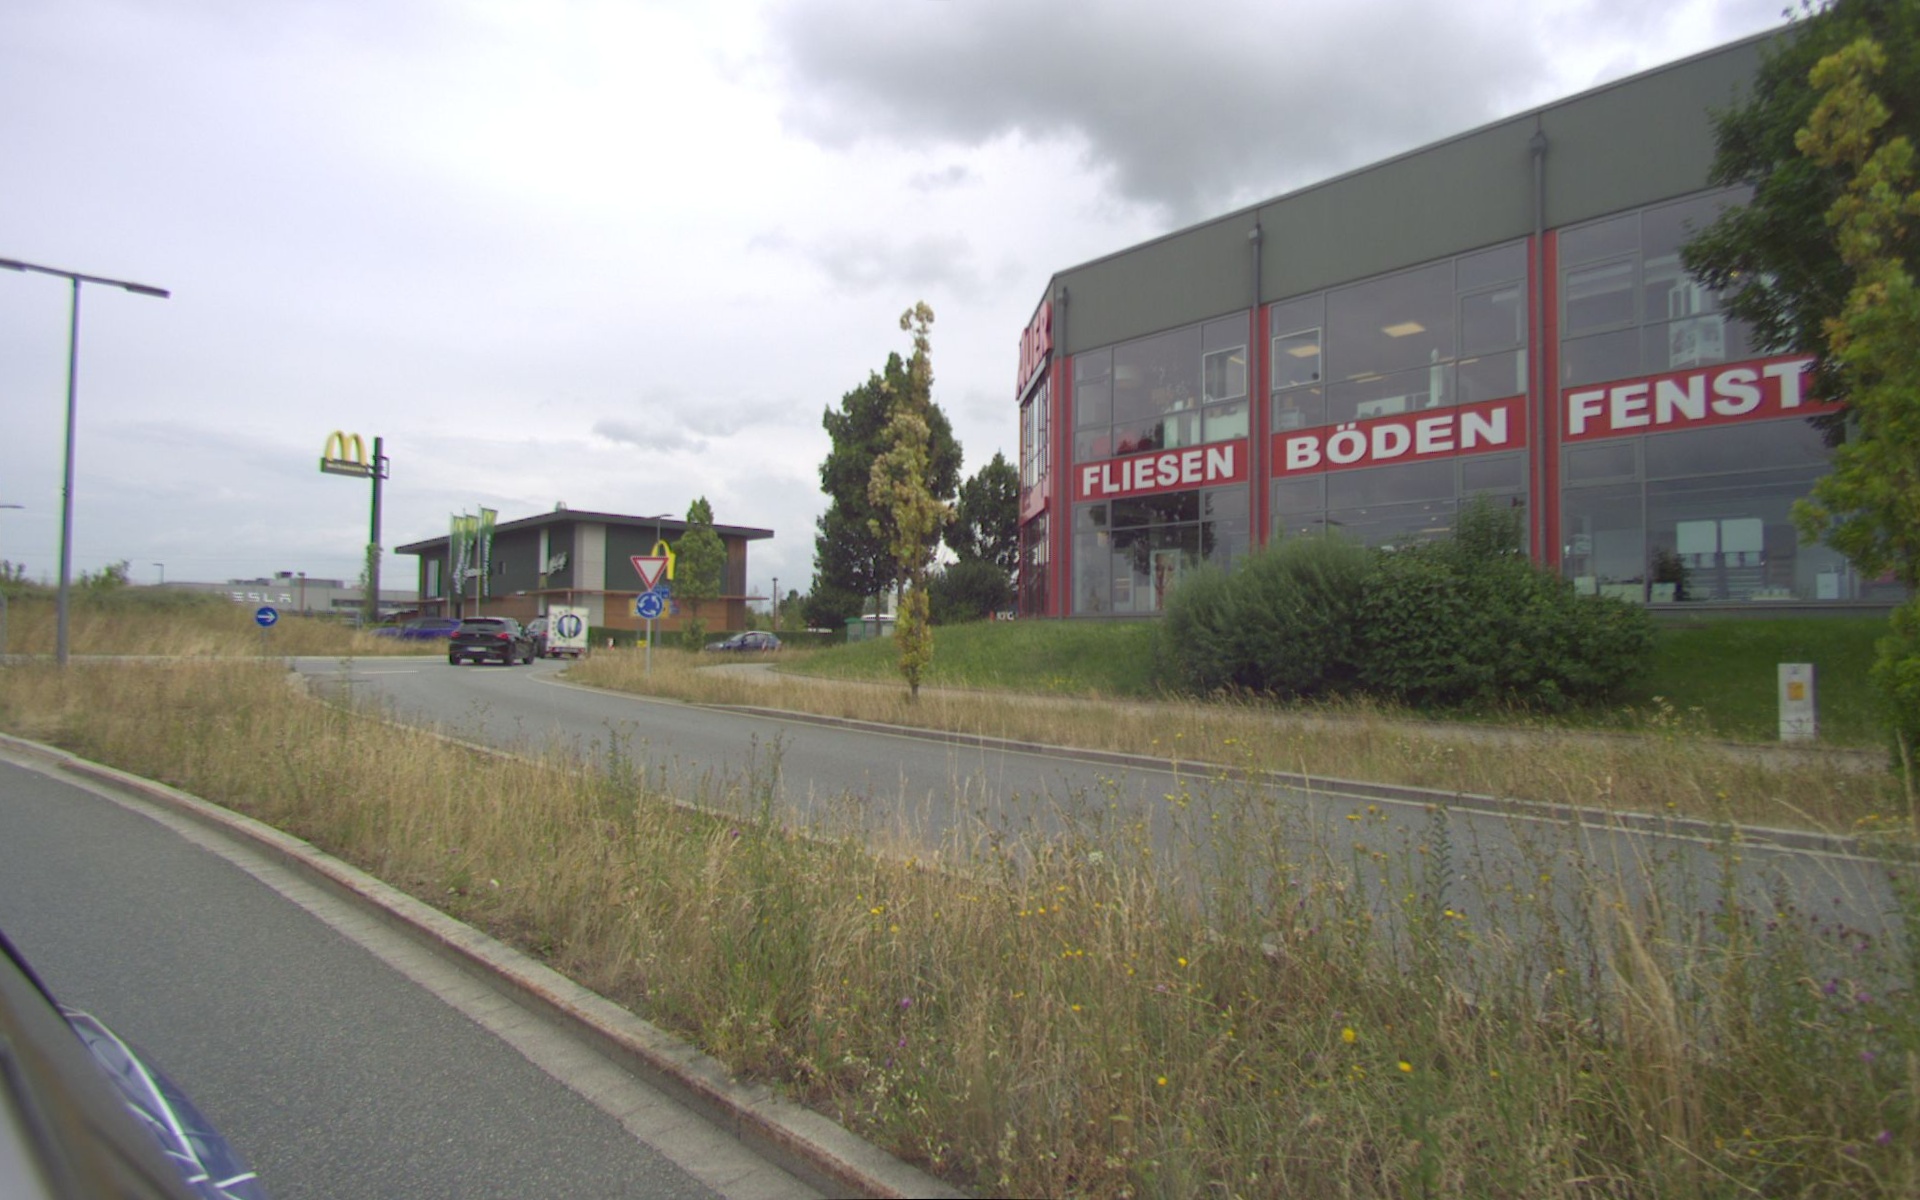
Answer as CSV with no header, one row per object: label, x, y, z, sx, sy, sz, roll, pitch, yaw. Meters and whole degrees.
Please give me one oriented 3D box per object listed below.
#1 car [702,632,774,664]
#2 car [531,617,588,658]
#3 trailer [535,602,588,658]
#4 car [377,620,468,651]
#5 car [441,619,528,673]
car,-12.639,2.713,57.815,1.887,1.671,3.981,0,-1,27
car,-17.440,1.675,44.253,1.786,1.683,4.628,1,-3,-16
trailer,-16.029,1.231,40.590,1.781,2.107,4.159,3,-3,-23
car,-27.267,1.796,51.444,3.751,1.562,1.767,1,-2,-13
car,-14.269,1.355,30.572,1.618,1.470,3.778,3,-2,-14
